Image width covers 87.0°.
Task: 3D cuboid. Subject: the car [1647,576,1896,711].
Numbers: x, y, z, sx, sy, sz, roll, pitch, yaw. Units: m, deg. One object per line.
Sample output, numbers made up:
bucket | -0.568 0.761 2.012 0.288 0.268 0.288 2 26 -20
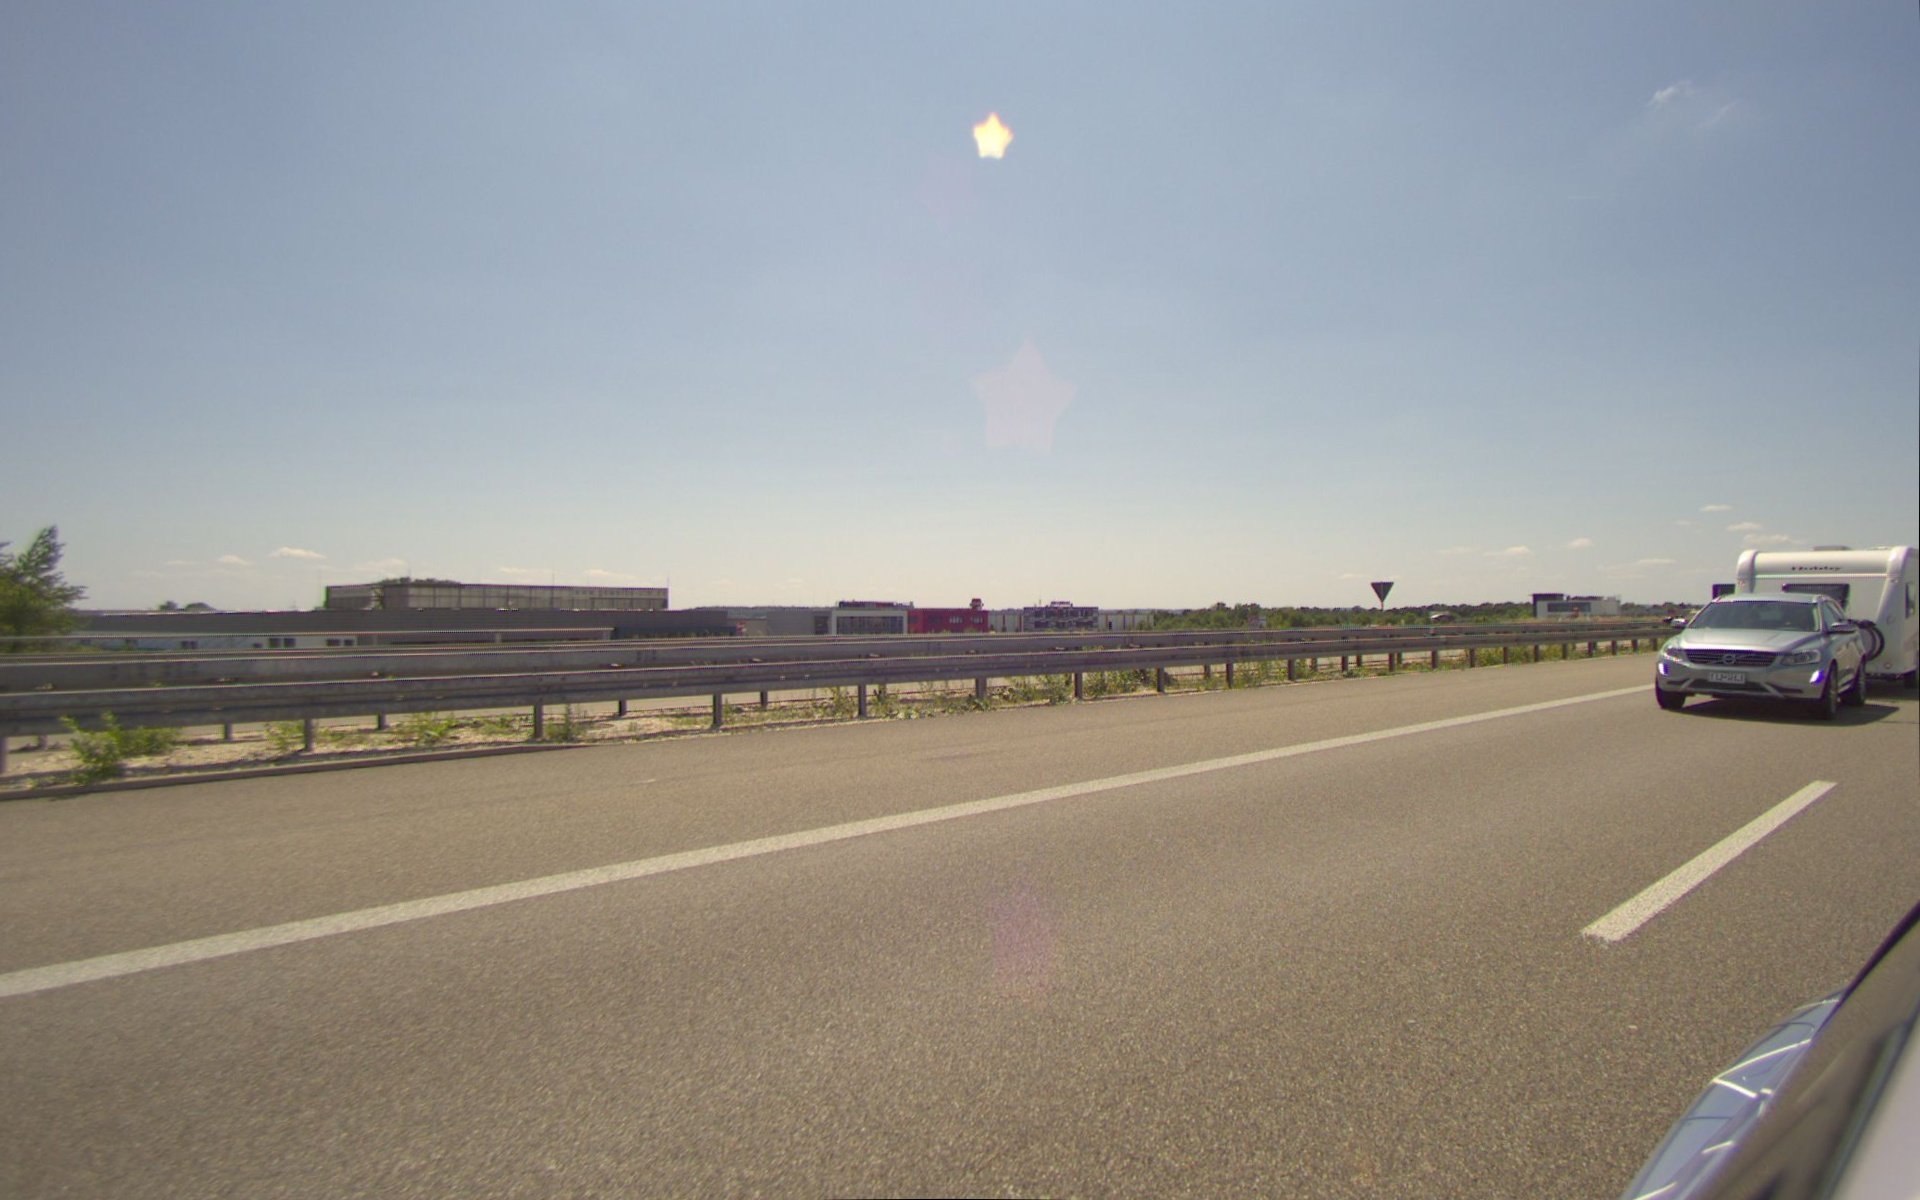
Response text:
car | 11.796 0.545 14.583 4.816 1.643 1.884 1 0 -40

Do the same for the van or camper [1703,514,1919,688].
van or camper | 16.396 0.064 18.704 7.677 2.626 2.518 1 0 -40
